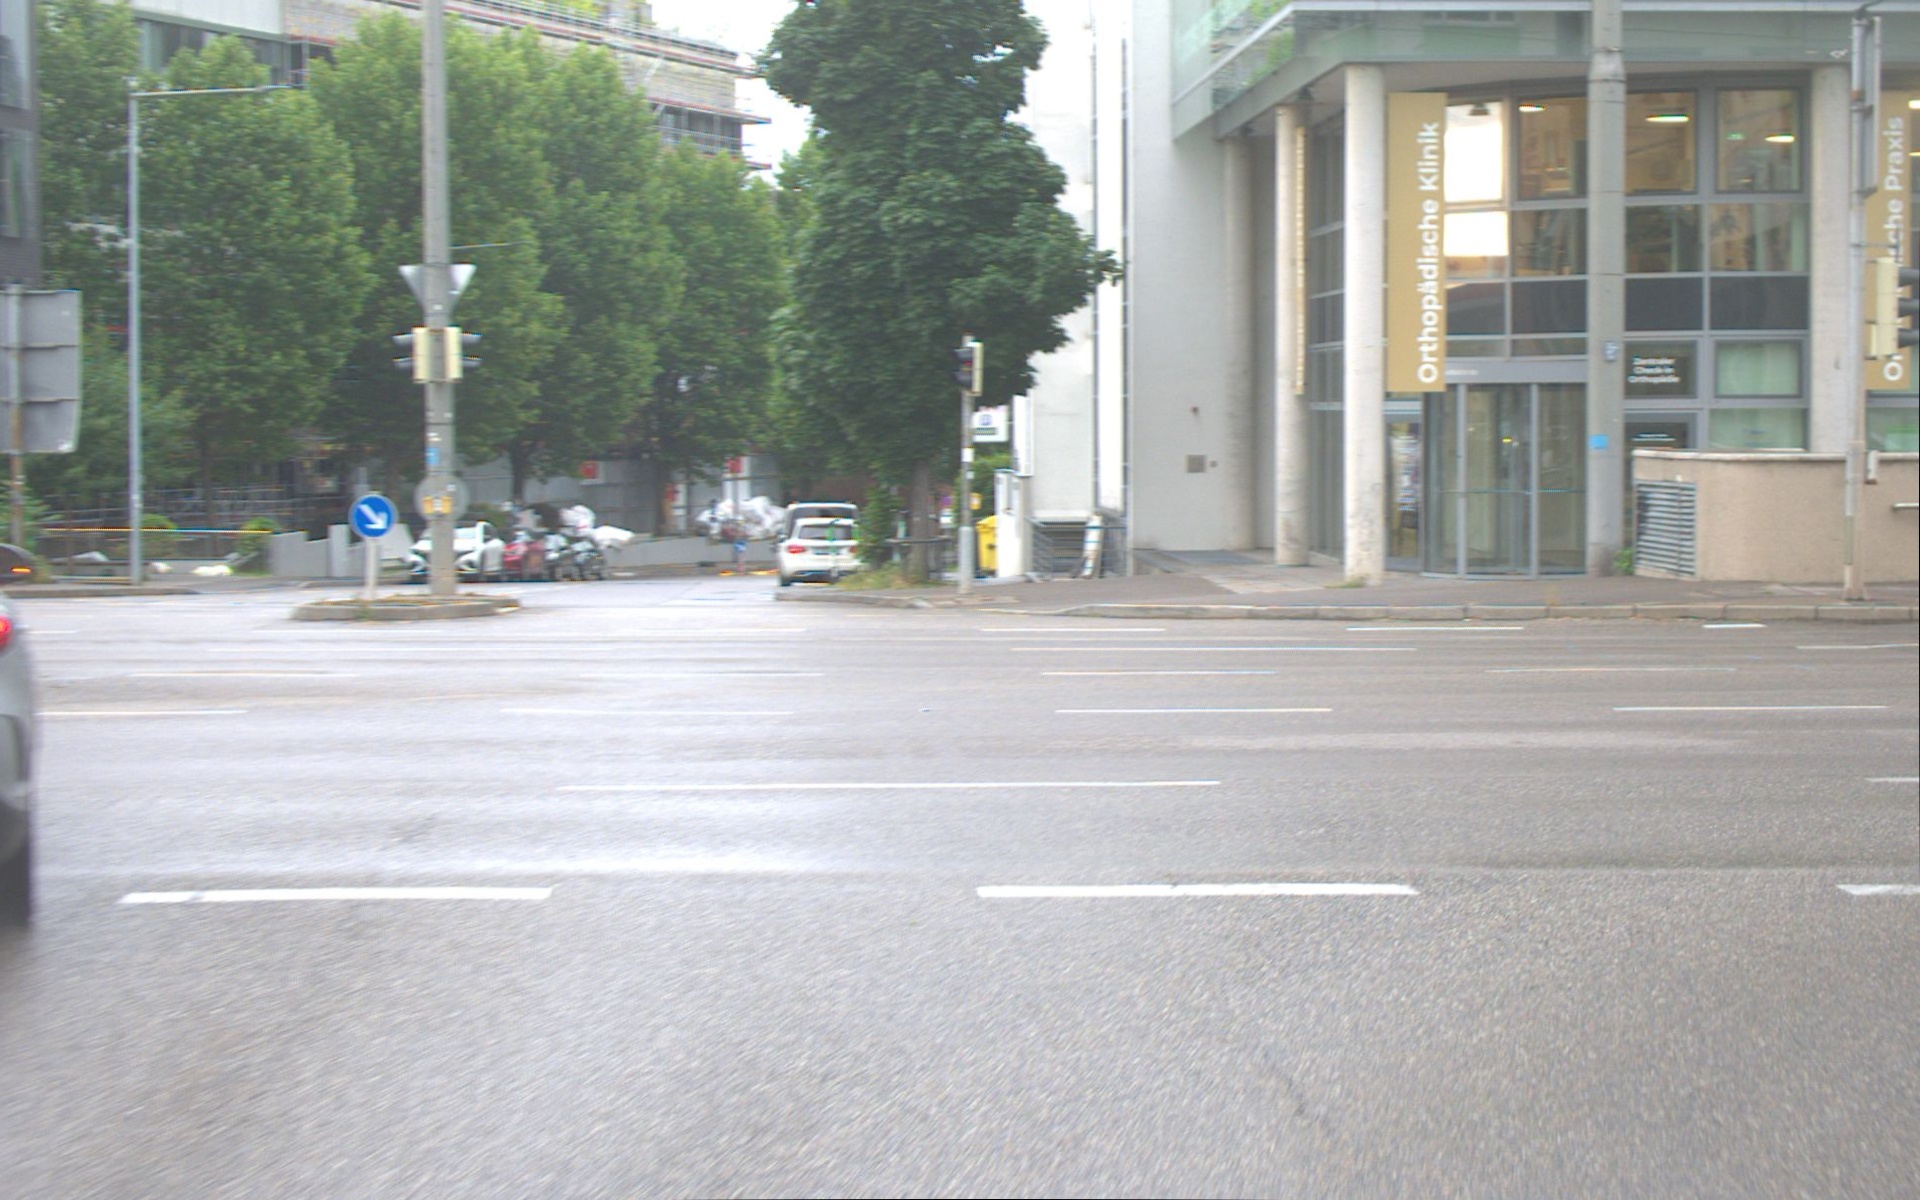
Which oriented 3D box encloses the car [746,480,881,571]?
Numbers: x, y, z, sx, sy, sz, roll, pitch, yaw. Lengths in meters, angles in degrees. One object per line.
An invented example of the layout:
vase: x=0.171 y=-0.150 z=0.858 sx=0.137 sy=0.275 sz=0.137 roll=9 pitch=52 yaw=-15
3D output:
car: x=-2.976 y=-1.504 z=68.921 sx=1.993 sy=1.711 sz=4.001 roll=2 pitch=1 yaw=-12

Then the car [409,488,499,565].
car: x=-13.802 y=-2.014 z=93.905 sx=1.993 sy=2.007 sz=4.001 roll=2 pitch=1 yaw=-3

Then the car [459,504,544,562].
car: x=-13.199 y=-1.939 z=99.092 sx=1.679 sy=1.588 sz=3.856 roll=2 pitch=1 yaw=4

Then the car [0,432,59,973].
car: x=-4.326 y=0.221 z=12.089 sx=1.908 sy=1.626 sz=4.212 roll=-1 pitch=3 yaw=-19
